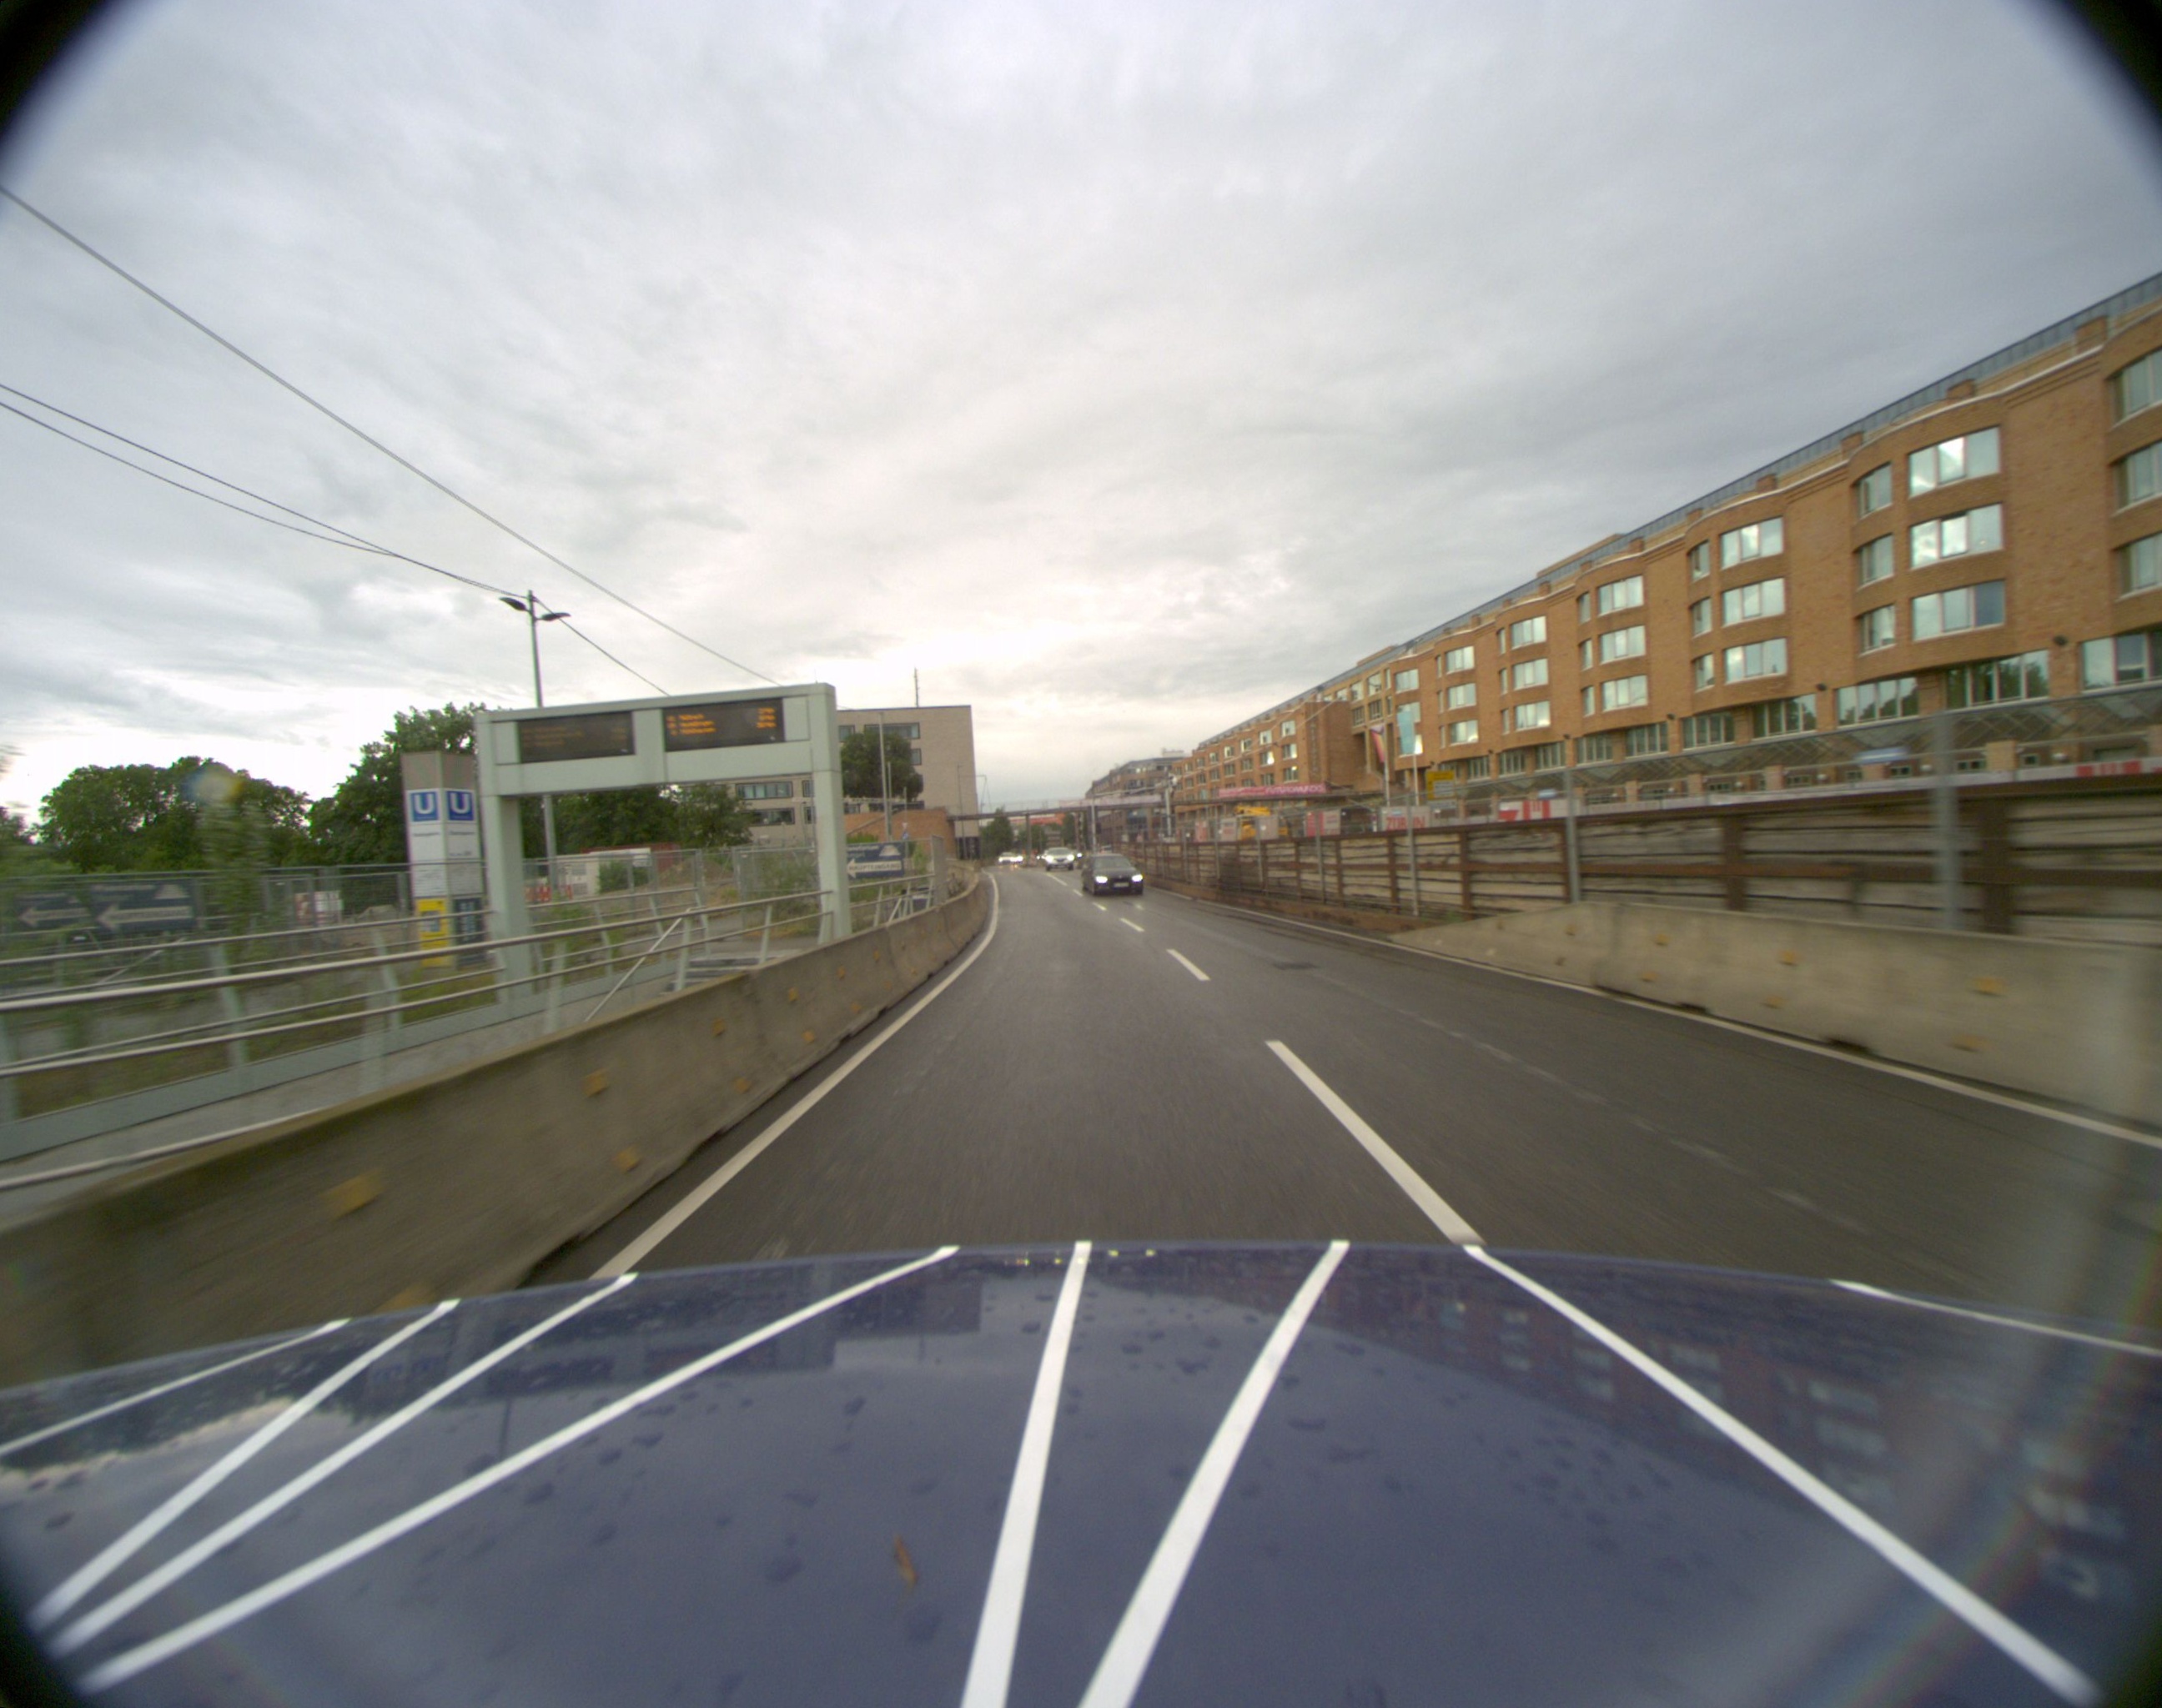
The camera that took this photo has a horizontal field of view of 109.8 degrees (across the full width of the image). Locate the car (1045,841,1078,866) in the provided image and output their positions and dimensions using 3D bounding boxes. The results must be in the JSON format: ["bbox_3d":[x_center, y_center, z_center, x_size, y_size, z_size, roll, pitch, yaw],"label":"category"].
[{"bbox_3d":[-1.418,-0.024,53.047,1.773,1.524,4.653,-4,1,-7],"label":"car"}]

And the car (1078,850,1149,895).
[{"bbox_3d":[1.115,0.625,28.463,1.773,1.435,4.653,-4,1,-7],"label":"car"}]

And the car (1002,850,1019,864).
[{"bbox_3d":[-8.369,0.300,90.142,1.772,1.524,4.654,-4,1,-3],"label":"car"}]

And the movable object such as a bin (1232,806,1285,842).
[{"bbox_3d":[12.000,-1.988,51.579,2.033,2.264,4.289,0,1,-9],"label":"movable object such as a bin"}]

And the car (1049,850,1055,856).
[{"bbox_3d":[-10.054,-0.499,263.085,1.999,1.874,4.868,-4,1,-2],"label":"car"}]

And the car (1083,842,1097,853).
[{"bbox_3d":[1.602,-1.083,137.452,1.811,1.811,5.298,-3,0,-7],"label":"car"}]

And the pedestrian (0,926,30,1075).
[{"bbox_3d":[-13.405,1.795,9.014,0.690,1.768,0.816,-2,2,17],"label":"pedestrian"}]

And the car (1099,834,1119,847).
[{"bbox_3d":[3.598,-1.710,99.792,1.752,1.540,4.519,-3,1,-8],"label":"car"}]

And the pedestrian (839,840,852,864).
[{"bbox_3d":[-17.832,-0.181,57.568,0.692,1.768,0.813,-4,2,-28],"label":"pedestrian"}]
